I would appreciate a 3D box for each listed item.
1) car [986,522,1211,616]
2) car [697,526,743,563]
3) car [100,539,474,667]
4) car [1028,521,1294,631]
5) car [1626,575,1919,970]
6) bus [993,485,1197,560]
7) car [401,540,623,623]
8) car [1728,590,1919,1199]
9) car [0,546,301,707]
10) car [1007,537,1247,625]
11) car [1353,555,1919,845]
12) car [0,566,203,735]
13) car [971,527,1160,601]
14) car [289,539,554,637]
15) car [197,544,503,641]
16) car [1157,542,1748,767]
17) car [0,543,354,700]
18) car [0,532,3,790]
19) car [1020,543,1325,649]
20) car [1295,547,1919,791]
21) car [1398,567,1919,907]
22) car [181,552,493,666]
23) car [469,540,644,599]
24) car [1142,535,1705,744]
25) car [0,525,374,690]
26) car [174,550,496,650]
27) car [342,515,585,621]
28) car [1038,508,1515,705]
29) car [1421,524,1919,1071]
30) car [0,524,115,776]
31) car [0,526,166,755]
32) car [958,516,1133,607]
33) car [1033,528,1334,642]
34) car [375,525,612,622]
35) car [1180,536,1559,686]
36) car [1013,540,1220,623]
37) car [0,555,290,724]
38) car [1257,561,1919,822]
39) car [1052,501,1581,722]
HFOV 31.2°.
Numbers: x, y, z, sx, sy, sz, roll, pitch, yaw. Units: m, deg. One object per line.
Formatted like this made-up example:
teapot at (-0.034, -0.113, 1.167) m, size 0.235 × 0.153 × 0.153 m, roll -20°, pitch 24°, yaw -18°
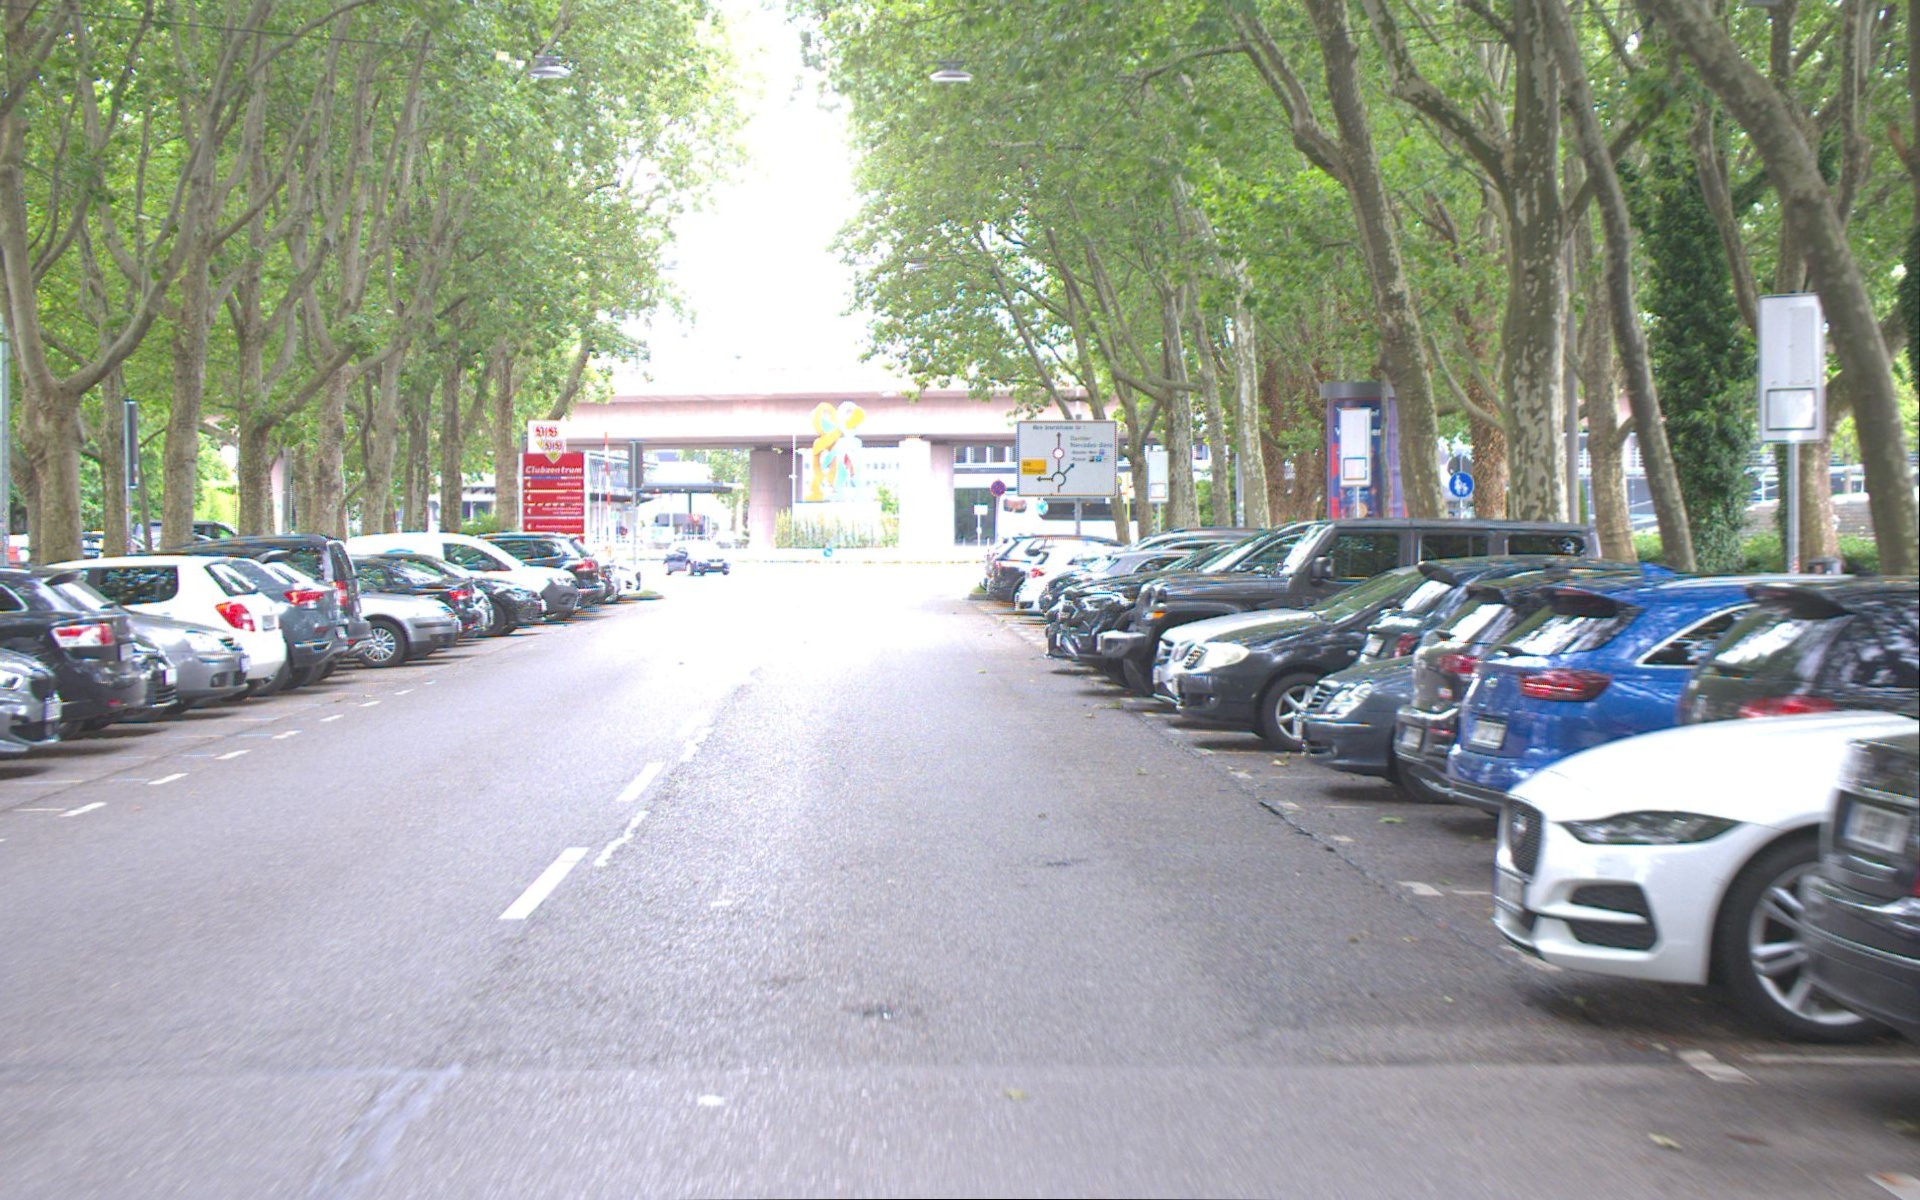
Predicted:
car at (2.762, -0.633, 69.267) m, size 4.346 × 1.755 × 1.926 m, roll 2°, pitch 1°, yaw -3°
car at (-10.037, -2.325, 144.039) m, size 1.842 × 1.504 × 4.016 m, roll 1°, pitch 1°, yaw -3°
car at (-8.578, 0.020, 44.067) m, size 4.463 × 1.477 × 1.703 m, roll -2°, pitch 1°, yaw -3°
car at (3.420, -0.428, 59.028) m, size 4.345 × 1.739 × 1.837 m, roll 1°, pitch 2°, yaw -3°
car at (4.903, 0.690, 13.924) m, size 4.015 × 1.442 × 1.784 m, roll 1°, pitch 2°, yaw -1°
bus at (6.261, -3.551, 158.314) m, size 9.987 × 3.387 × 2.340 m, roll -1°, pitch 1°, yaw -35°
car at (-8.957, -0.379, 68.972) m, size 4.129 × 1.447 × 2.013 m, roll -3°, pitch 1°, yaw 1°
car at (4.142, 0.737, 9.014) m, size 3.830 × 1.412 × 1.719 m, roll 1°, pitch 1°, yaw -1°
car at (-8.752, 0.265, 34.187) m, size 3.993 × 1.480 × 1.703 m, roll -1°, pitch 1°, yaw 3°
car at (2.957, -0.355, 61.498) m, size 4.148 × 1.453 × 1.727 m, roll 1°, pitch 1°, yaw -1°
car at (4.457, 0.541, 19.168) m, size 4.195 × 1.451 × 1.785 m, roll 1°, pitch 2°, yaw -4°
car at (-8.576, 0.393, 29.053) m, size 3.986 × 1.364 × 1.844 m, roll 1°, pitch 1°, yaw -3°
car at (2.471, -0.865, 81.536) m, size 4.346 × 1.628 × 1.926 m, roll 1°, pitch 2°, yaw -1°
car at (-8.788, -0.207, 56.325) m, size 3.978 × 1.416 × 1.755 m, roll -2°, pitch 1°, yaw 2°
car at (-9.515, -0.129, 53.907) m, size 4.463 × 1.365 × 1.880 m, roll -1°, pitch 1°, yaw -2°
car at (3.705, 0.392, 26.367) m, size 4.195 × 1.513 × 1.785 m, roll 2°, pitch 1°, yaw -2°
car at (-8.476, 0.212, 36.134) m, size 3.930 × 1.511 × 1.728 m, roll -2°, pitch 1°, yaw -3°
car at (-8.207, 0.378, 21.379) m, size 3.987 × 1.676 × 1.856 m, roll 1°, pitch 1°, yaw 0°
car at (3.109, -0.077, 51.044) m, size 4.346 × 1.408 × 1.926 m, roll 1°, pitch 2°, yaw -1°
car at (4.579, 0.457, 23.894) m, size 4.195 × 1.513 × 1.785 m, roll 1°, pitch 2°, yaw -4°
car at (4.308, 0.631, 16.403) m, size 4.014 × 1.442 × 1.915 m, roll 1°, pitch 2°, yaw -7°
car at (-8.384, 0.105, 46.497) m, size 3.930 × 1.393 × 1.703 m, roll -2°, pitch 1°, yaw -3°
car at (-9.855, -0.754, 84.153) m, size 3.994 × 1.380 × 1.911 m, roll 1°, pitch 1°, yaw 2°
car at (3.830, 0.301, 29.100) m, size 4.495 × 1.566 × 2.047 m, roll 2°, pitch 2°, yaw 2°
car at (-8.694, 0.059, 38.629) m, size 3.930 × 1.702 × 1.752 m, roll -2°, pitch 1°, yaw -3°
car at (-9.354, -0.010, 51.718) m, size 4.463 × 1.343 × 1.902 m, roll -1°, pitch 1°, yaw 0°
car at (-9.203, -0.611, 64.004) m, size 4.317 × 1.804 × 1.868 m, roll -2°, pitch 1°, yaw -5°
car at (3.097, 0.040, 34.380) m, size 4.495 × 1.790 × 2.048 m, roll 1°, pitch 2°, yaw -2°
car at (3.957, 0.608, 11.407) m, size 4.523 × 1.617 × 2.054 m, roll 1°, pitch 1°, yaw -1°
car at (-8.079, 0.297, 23.806) m, size 3.987 × 1.676 × 1.856 m, roll 1°, pitch 1°, yaw 0°
car at (-8.278, 0.267, 26.266) m, size 3.987 × 1.676 × 1.856 m, roll 1°, pitch 1°, yaw 0°
car at (1.995, -0.924, 81.211) m, size 3.987 × 2.006 × 2.000 m, roll 1°, pitch 2°, yaw -1°
car at (3.475, -0.254, 54.033) m, size 4.591 × 1.633 × 1.872 m, roll 2°, pitch 2°, yaw 1°
car at (-8.990, -0.520, 66.527) m, size 4.317 × 1.789 × 2.037 m, roll 1°, pitch 1°, yaw -1°
car at (5.293, 0.128, 44.785) m, size 4.494 × 1.790 × 2.048 m, roll 1°, pitch 2°, yaw -7°
car at (2.897, -0.354, 64.049) m, size 3.639 × 1.422 × 1.666 m, roll 1°, pitch 2°, yaw -4°
car at (-8.253, 0.361, 31.254) m, size 3.993 × 1.415 × 1.703 m, roll -2°, pitch 1°, yaw -3°
car at (4.101, 0.547, 21.520) m, size 4.195 × 1.451 × 1.785 m, roll 1°, pitch 2°, yaw -4°
car at (3.212, 0.083, 31.614) m, size 4.494 × 1.860 × 2.048 m, roll 1°, pitch 2°, yaw -5°
